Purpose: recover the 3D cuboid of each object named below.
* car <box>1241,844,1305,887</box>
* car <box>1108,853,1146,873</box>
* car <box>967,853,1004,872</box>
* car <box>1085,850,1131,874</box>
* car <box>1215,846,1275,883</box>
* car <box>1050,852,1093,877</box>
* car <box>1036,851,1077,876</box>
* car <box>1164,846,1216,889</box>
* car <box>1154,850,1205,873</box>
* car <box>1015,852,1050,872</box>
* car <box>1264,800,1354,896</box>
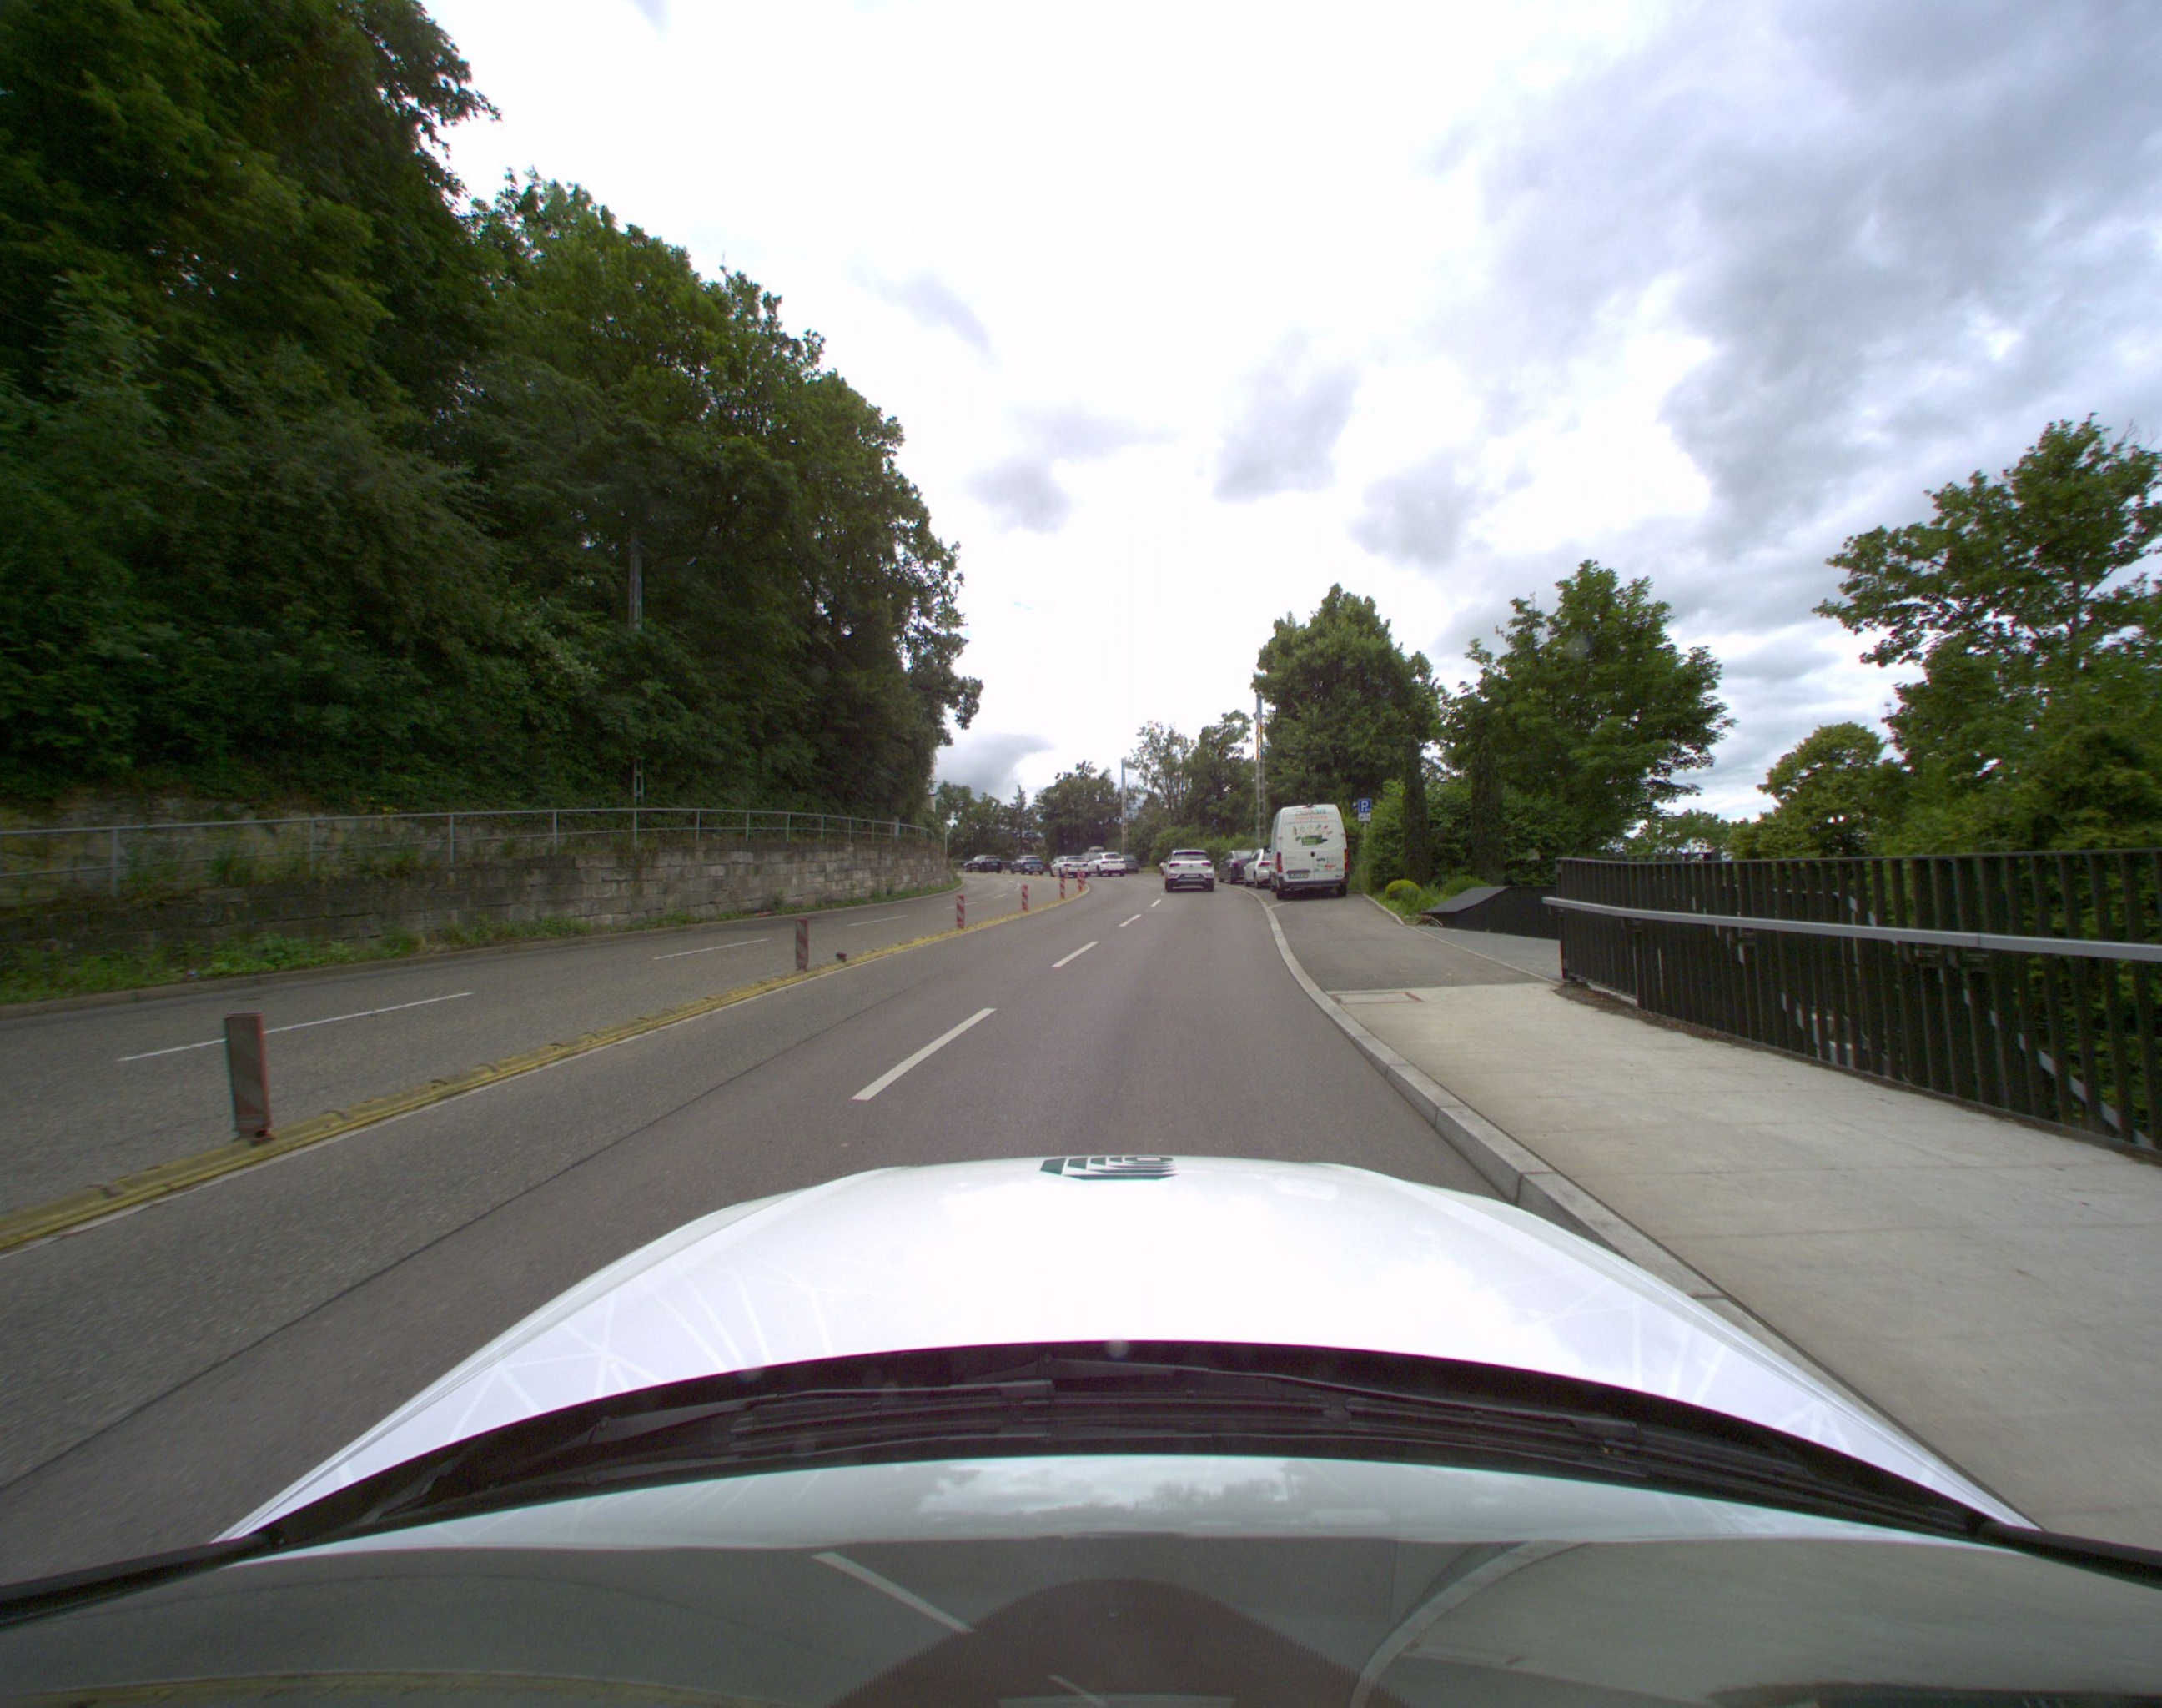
[{"bbox_3d":[7.153,0.430,30.737,1.693,1.464,3.838,-2,-1,3],"label":"car"},{"bbox_3d":[3.518,0.701,63.320,1.645,1.464,3.976,1,-1,-17],"label":"car"},{"bbox_3d":[-8.845,0.794,75.279,1.828,1.690,3.959,3,-2,-32],"label":"car"},{"bbox_3d":[1.853,0.570,56.930,1.998,1.586,3.977,2,-1,-17],"label":"car"},{"bbox_3d":[7.121,0.442,35.759,1.695,1.464,4.663,-1,0,0],"label":"car"},{"bbox_3d":[-0.661,0.704,54.822,1.910,1.574,3.979,2,-1,-15],"label":"car"},{"bbox_3d":[-1.834,0.717,60.566,1.999,1.739,3.975,2,-2,-18],"label":"car"},{"bbox_3d":[4.169,0.495,31.165,1.857,1.536,3.811,0,0,7],"label":"car"},{"bbox_3d":[6.314,0.498,52.510,1.781,1.418,3.977,-2,0,-17],"label":"car"},{"bbox_3d":[-4.000,0.687,66.196,1.997,1.541,3.988,2,-1,-16],"label":"car"},{"bbox_3d":[6.836,-0.154,25.002,2.071,2.523,5.862,-3,-1,11],"label":"car"}]
